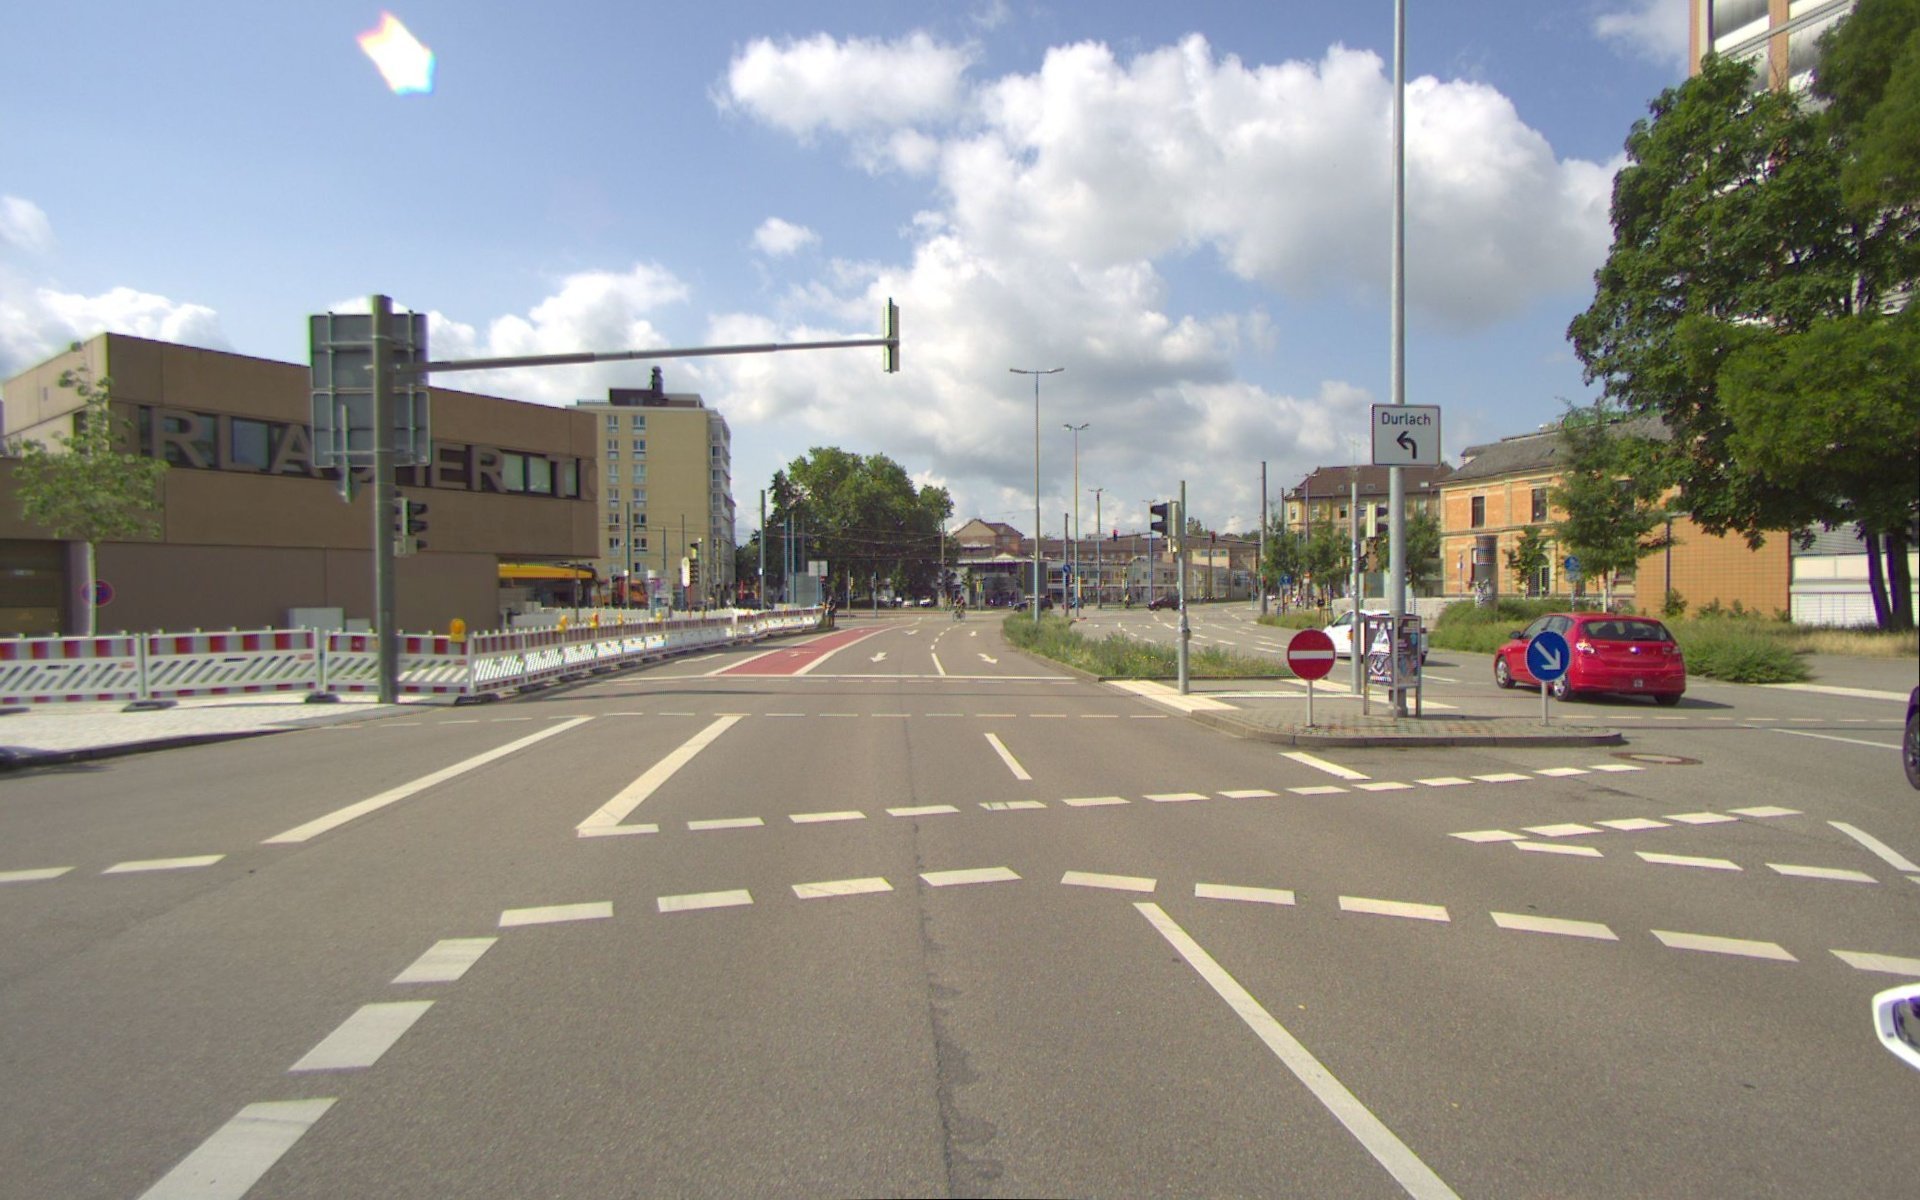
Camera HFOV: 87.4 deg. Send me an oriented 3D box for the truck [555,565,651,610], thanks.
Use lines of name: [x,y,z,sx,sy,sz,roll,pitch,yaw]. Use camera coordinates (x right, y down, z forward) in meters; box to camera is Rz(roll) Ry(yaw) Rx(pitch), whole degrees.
truck: [-32.176,-1.139,90.734,7.796,3.908,2.196,0,1,-10]

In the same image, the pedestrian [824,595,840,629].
pedestrian: [-6.458,0.598,50.702,0.723,1.704,0.641,0,1,2]

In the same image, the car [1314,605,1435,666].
car: [11.395,0.924,27.918,1.817,1.492,4.336,-1,0,4]

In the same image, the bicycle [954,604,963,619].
bicycle: [-0.072,0.776,70.477,0.606,1.015,2.018,0,0,1]

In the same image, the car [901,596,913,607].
car: [-8.854,0.272,167.526,1.768,1.793,4.000,0,0,0]

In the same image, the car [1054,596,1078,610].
car: [13.312,0.334,125.570,1.816,1.742,3.997,-1,0,24]

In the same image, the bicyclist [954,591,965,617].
bicyclist: [-0.050,0.272,70.333,0.797,1.847,1.159,0,0,0]

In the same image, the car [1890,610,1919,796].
car: [8.103,0.842,6.950,1.781,1.528,4.193,0,0,34]

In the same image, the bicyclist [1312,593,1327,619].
bicyclist: [24.376,0.390,68.160,0.723,1.725,0.966,-2,0,10]

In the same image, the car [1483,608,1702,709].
car: [10.860,0.913,17.616,1.785,1.459,4.069,2,1,10]

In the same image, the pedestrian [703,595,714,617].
pedestrian: [-22.554,0.533,90.210,0.687,1.885,0.819,0,1,6]

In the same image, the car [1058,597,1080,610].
car: [13.690,0.424,126.443,1.960,1.550,4.000,0,0,18]

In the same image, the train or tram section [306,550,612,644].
train or tram section: [-21.451,-0.144,44.329,2.624,3.620,12.372,0,0,35]

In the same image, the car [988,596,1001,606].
car: [5.582,0.153,164.436,1.961,1.573,4.078,0,0,0]

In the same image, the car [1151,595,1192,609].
car: [22.942,0.202,109.236,4.007,1.528,1.811,0,0,-10]

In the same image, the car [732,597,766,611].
car: [-25.183,0.445,120.070,3.932,1.684,1.994,0,0,-14]

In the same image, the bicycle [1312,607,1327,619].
bicycle: [24.355,0.876,68.044,0.614,0.821,1.790,-2,0,10]

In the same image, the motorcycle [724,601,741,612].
motorcycle: [-23.706,0.655,104.719,0.768,1.130,2.436,0,0,11]

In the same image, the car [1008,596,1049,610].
car: [7.156,0.310,105.664,4.007,1.528,1.811,0,0,-10]
